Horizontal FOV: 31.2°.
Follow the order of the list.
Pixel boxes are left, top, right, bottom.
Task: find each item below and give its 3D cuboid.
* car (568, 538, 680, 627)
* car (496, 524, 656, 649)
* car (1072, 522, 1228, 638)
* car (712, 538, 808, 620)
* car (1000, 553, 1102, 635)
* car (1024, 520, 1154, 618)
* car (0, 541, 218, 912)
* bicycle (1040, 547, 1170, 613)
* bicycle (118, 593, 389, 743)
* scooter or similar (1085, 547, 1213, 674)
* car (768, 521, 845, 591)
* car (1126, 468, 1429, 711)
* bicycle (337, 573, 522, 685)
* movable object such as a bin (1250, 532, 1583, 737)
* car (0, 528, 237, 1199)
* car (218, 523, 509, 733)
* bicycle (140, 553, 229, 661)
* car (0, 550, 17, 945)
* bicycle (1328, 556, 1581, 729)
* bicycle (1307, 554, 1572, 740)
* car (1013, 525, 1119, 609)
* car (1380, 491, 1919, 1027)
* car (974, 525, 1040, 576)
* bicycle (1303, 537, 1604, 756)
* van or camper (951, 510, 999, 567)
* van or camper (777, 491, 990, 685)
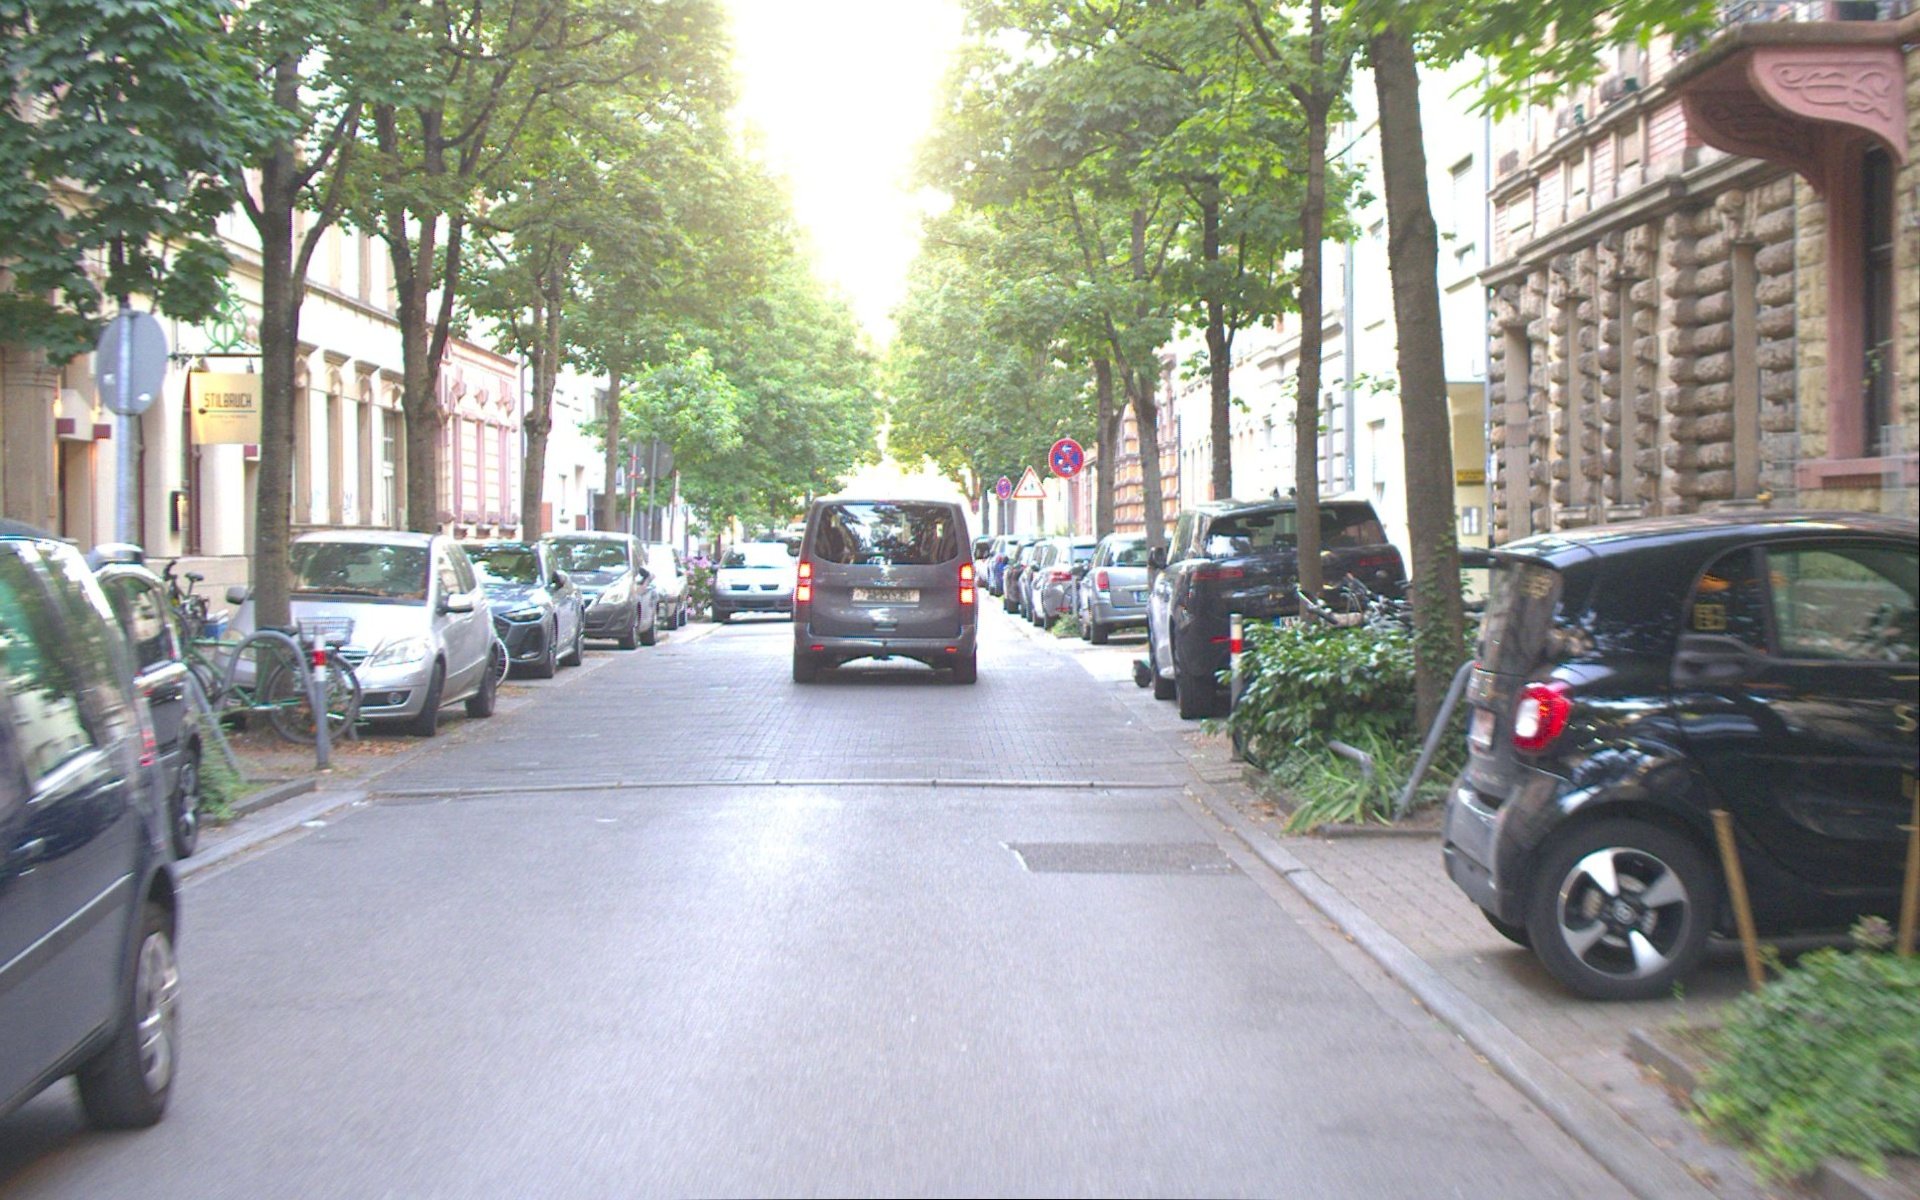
[{"bbox_3d":[-5.668,-0.315,58.337,1.587,1.432,3.566,1,1,-1],"label":"car"},{"bbox_3d":[-5.205,-0.223,46.983,1.706,1.575,4.078,1,2,0],"label":"car"},{"bbox_3d":[2.550,-0.308,47.013,1.758,1.458,4.308,-1,1,-1],"label":"car"},{"bbox_3d":[-3.633,-0.409,62.955,1.580,1.415,3.753,-1,1,-1],"label":"car"},{"bbox_3d":[1.733,-0.145,66.747,1.766,1.410,4.474,-3,1,0],"label":"car"},{"bbox_3d":[2.073,-0.541,56.247,1.716,1.471,4.369,-2,1,-2],"label":"car"},{"bbox_3d":[-4.535,0.482,15.797,1.519,1.496,3.562,1,1,-1],"label":"car"},{"bbox_3d":[2.253,-0.314,53.351,1.915,0.978,0.638,-1,1,-22],"label":"bicycle"},{"bbox_3d":[-5.164,0.494,25.144,1.863,1.056,0.596,1,1,-19],"label":"bicycle"},{"bbox_3d":[1.863,0.099,33.863,0.675,1.186,1.113,-3,1,39],"label":"scooter or similar"},{"bbox_3d":[-3.605,-1.047,80.281,1.663,1.557,4.001,-1,1,-4],"label":"car"},{"bbox_3d":[2.631,-0.142,29.632,2.013,1.827,4.811,-3,1,-1],"label":"car"},{"bbox_3d":[-5.121,0.279,33.208,1.684,1.000,0.430,2,1,1],"label":"bicycle"},{"bbox_3d":[3.233,0.236,24.516,2.216,1.300,0.771,-4,1,2],"label":"movable object such as a bin"},{"bbox_3d":[-2.911,0.637,7.697,1.723,1.568,4.220,-1,1,-1],"label":"car"},{"bbox_3d":[-4.871,0.174,28.548,1.676,1.602,3.861,0,1,1],"label":"car"},{"bbox_3d":[-8.200,0.064,36.400,0.526,1.094,1.795,-1,1,0],"label":"bicycle"},{"bbox_3d":[-4.431,0.582,11.371,1.691,1.496,3.712,1,1,-2],"label":"car"},{"bbox_3d":[3.392,0.288,23.648,1.658,1.140,0.582,-1,1,3],"label":"bicycle"},{"bbox_3d":[3.198,0.308,23.021,1.696,1.194,0.582,-1,1,3],"label":"bicycle"},{"bbox_3d":[1.878,-0.621,61.855,1.635,1.419,3.565,-2,1,-2],"label":"car"},{"bbox_3d":[3.000,0.450,11.801,2.797,1.594,1.801,-4,1,0],"label":"car"},{"bbox_3d":[1.330,-1.446,99.204,1.693,1.396,4.646,-2,1,-1],"label":"car"},{"bbox_3d":[3.171,0.287,22.203,1.761,1.289,0.802,-3,1,-1],"label":"bicycle"},{"bbox_3d":[0.686,-2.847,158.449,1.993,2.590,5.425,-1,1,-2],"label":"van or camper"},{"bbox_3d":[-0.736,-0.161,35.946,2.035,1.891,4.271,0,1,1],"label":"van or camper"}]
